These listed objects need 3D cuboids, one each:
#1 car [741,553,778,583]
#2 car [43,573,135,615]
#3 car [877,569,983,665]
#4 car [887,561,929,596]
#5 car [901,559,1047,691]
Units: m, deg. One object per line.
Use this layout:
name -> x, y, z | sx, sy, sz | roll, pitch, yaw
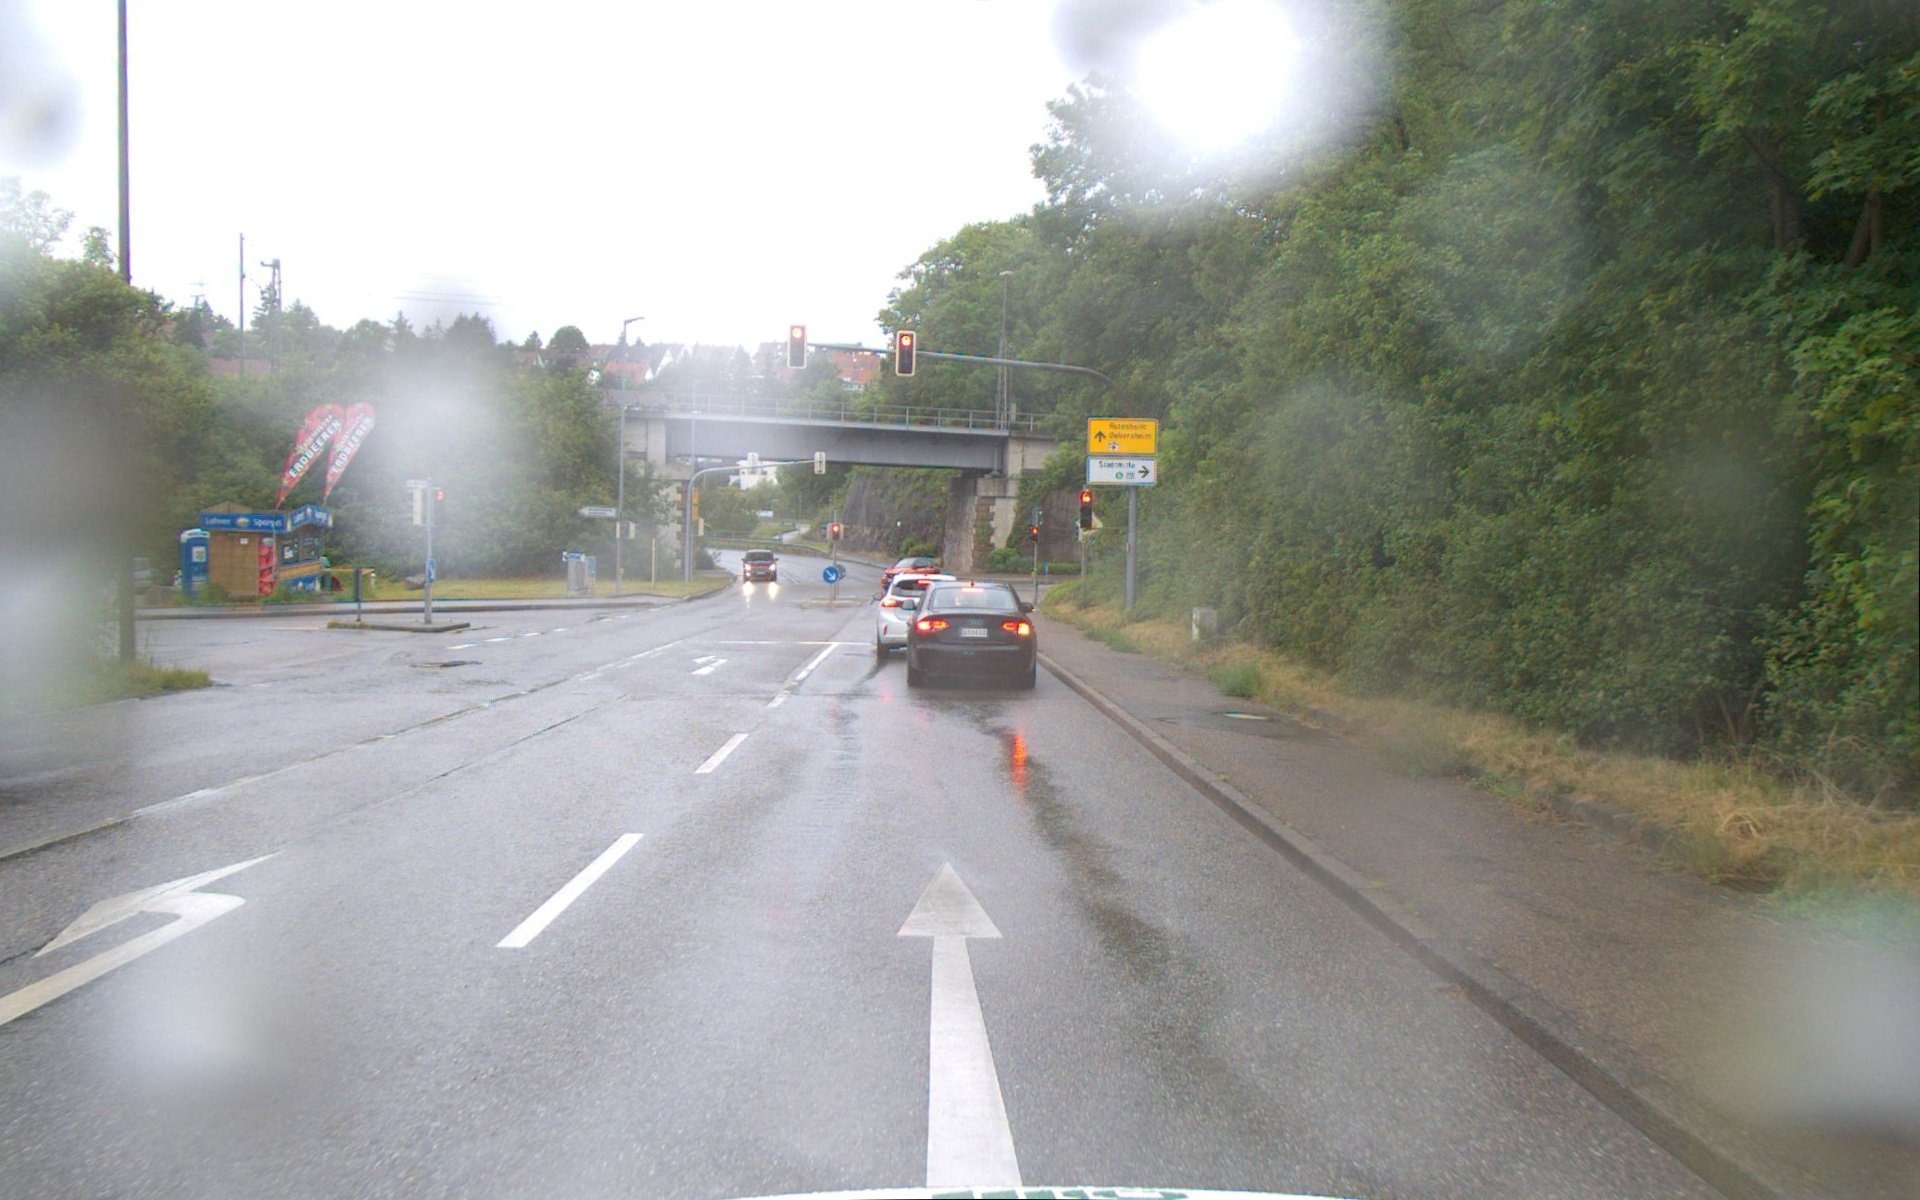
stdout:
car -> -11.419, -1.798, 93.876 | 1.956, 1.656, 3.992 | 0, 1, -9
car -> -29.770, -0.196, 56.679 | 1.623, 1.364, 4.885 | 1, 0, -14
car -> -0.559, 0.280, 30.035 | 1.786, 1.613, 3.999 | 1, 0, -1
car -> -2.485, -0.999, 79.384 | 1.953, 1.613, 3.999 | 1, 0, -1
car -> 0.138, 0.295, 23.320 | 1.832, 1.644, 3.999 | 2, 1, -1
